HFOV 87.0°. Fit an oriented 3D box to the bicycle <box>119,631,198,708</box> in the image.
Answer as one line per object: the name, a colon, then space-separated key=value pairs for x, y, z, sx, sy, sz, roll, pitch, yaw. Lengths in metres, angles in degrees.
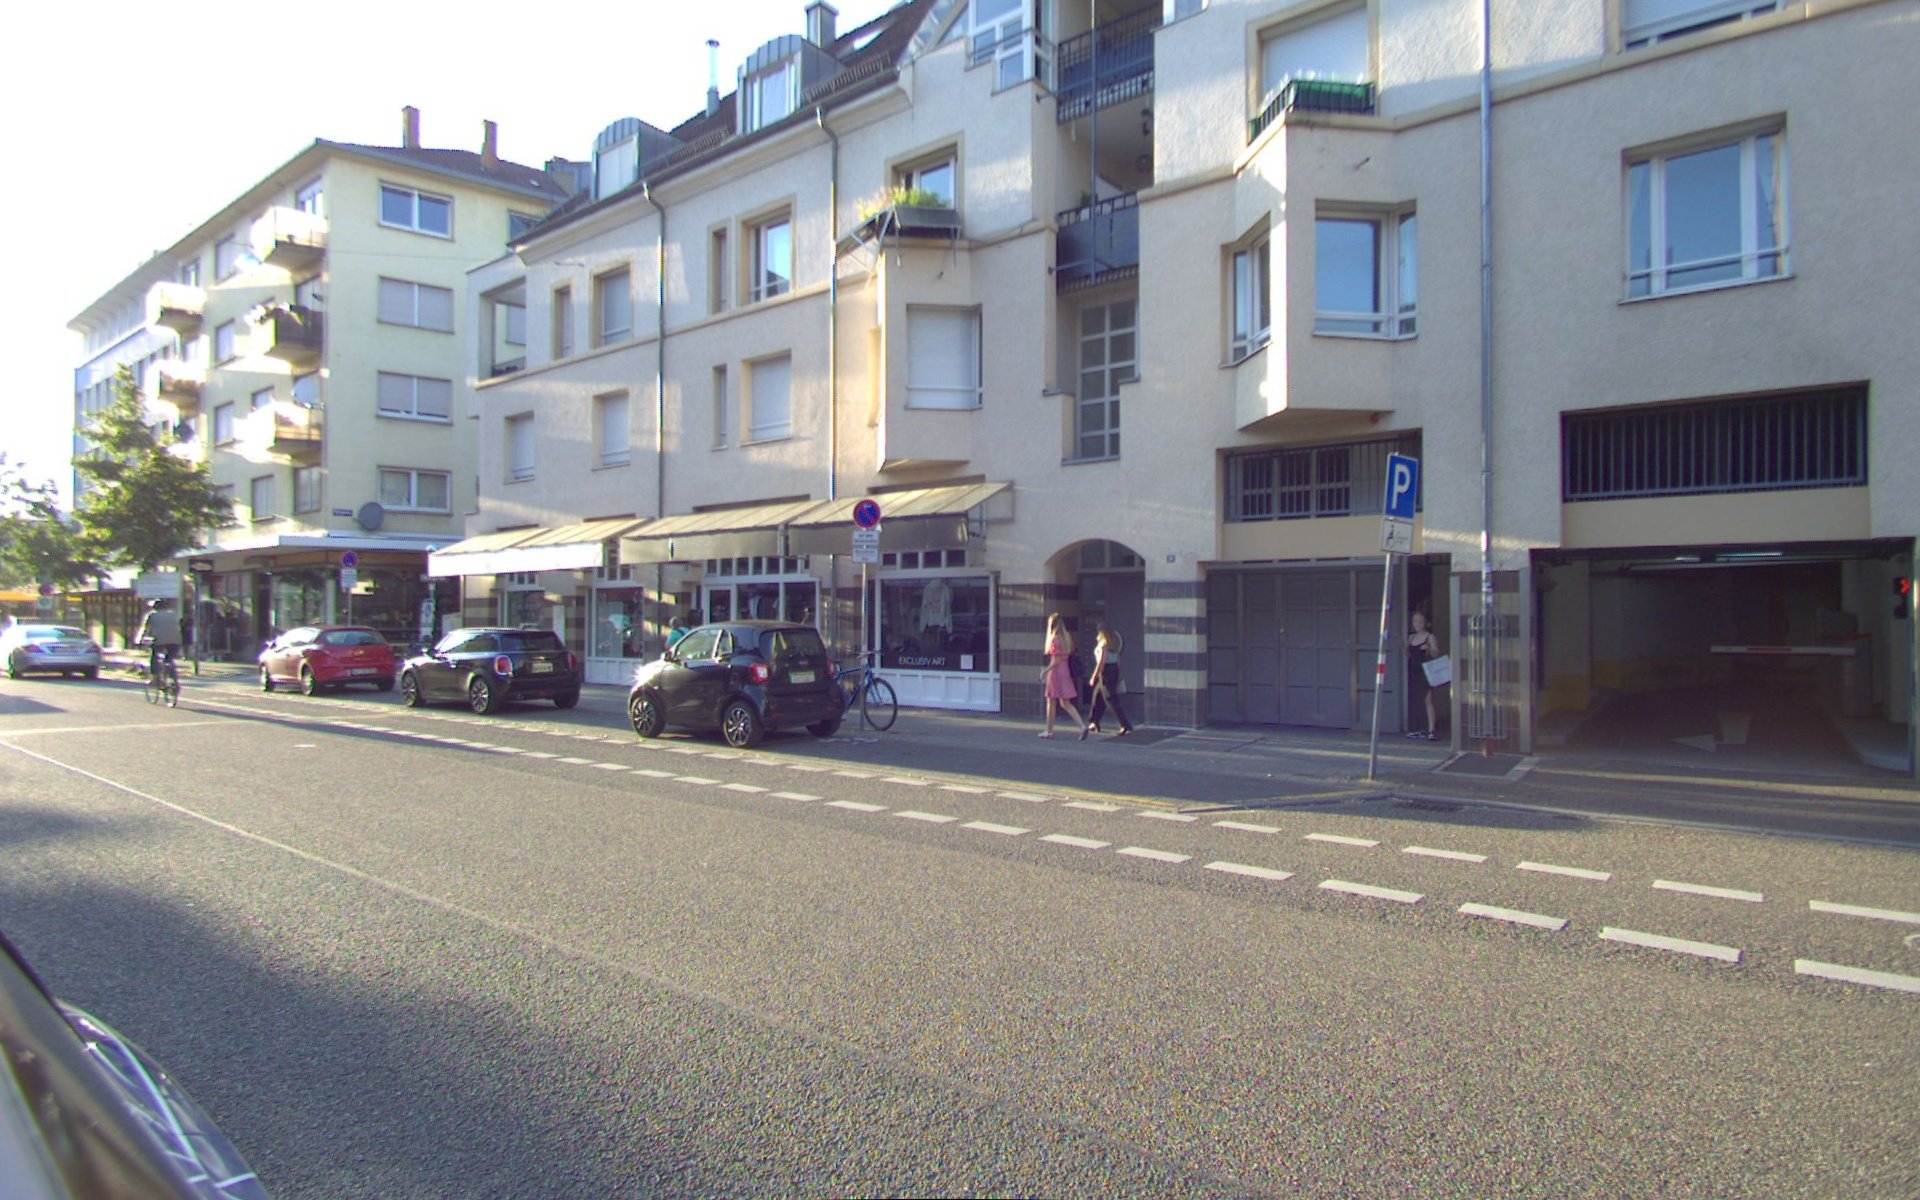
bicycle: x=-13.960 y=1.185 z=17.599 sx=2.129 sy=1.252 sz=0.656 roll=-1 pitch=-4 yaw=42

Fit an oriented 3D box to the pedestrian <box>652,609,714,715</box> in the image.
pedestrian: x=-4.687 y=1.026 z=17.144 sx=0.737 sy=1.747 sz=0.711 roll=-1 pitch=-1 yaw=38

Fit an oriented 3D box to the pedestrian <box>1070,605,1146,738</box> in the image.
pedestrian: x=1.981 y=0.933 z=13.561 sx=0.830 sy=1.713 sz=0.554 roll=-1 pitch=-2 yaw=38

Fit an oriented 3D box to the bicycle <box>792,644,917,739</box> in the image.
bicycle: x=-1.519 y=1.251 z=14.303 sx=1.976 sy=1.215 sz=0.552 roll=-1 pitch=-2 yaw=41

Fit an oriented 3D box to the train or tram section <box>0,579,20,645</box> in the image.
train or tram section: x=-58.009 y=0.735 z=55.074 sx=3.110 sy=3.839 sz=10.415 roll=-1 pitch=0 yaw=8

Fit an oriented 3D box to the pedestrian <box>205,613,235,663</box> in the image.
pedestrian: x=-26.907 y=1.371 z=36.788 sx=0.666 sy=1.805 sz=0.711 roll=-1 pitch=-1 yaw=39

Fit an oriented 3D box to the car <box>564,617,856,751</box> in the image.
car: x=-3.496 y=1.039 z=13.905 sx=3.959 sy=1.592 sz=1.773 roll=-1 pitch=-2 yaw=36

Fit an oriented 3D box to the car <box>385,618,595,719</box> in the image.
car: x=-8.344 y=1.132 z=17.882 sx=3.780 sy=1.592 sz=1.773 roll=-1 pitch=-2 yaw=36

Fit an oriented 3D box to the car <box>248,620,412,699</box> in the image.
car: x=-13.822 y=1.237 z=22.157 sx=3.780 sy=1.592 sz=1.773 roll=-1 pitch=-2 yaw=36

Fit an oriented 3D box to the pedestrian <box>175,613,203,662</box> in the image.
pedestrian: x=-28.753 y=1.377 z=37.743 sx=0.666 sy=1.805 sz=0.711 roll=-1 pitch=-1 yaw=39

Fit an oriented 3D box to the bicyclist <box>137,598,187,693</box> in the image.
bicyclist: x=-13.786 y=0.774 z=17.481 sx=0.802 sy=1.593 sz=0.541 roll=-1 pitch=-2 yaw=41

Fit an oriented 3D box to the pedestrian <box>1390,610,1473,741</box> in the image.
pedestrian: x=5.908 y=0.923 z=12.703 sx=0.525 sy=1.584 sz=0.780 roll=1 pitch=-2 yaw=-36

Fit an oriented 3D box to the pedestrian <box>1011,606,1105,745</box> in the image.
pedestrian: x=1.271 y=0.948 z=13.122 sx=1.039 sy=1.713 sz=0.624 roll=-1 pitch=-2 yaw=38

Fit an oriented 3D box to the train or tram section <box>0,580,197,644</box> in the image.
train or tram section: x=-56.463 y=0.712 z=66.085 sx=3.110 sy=3.839 sz=11.815 roll=-1 pitch=0 yaw=8

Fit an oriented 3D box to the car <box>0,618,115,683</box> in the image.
car: x=-24.827 y=1.337 z=27.456 sx=4.397 sy=1.617 sz=1.975 roll=-1 pitch=-3 yaw=37
